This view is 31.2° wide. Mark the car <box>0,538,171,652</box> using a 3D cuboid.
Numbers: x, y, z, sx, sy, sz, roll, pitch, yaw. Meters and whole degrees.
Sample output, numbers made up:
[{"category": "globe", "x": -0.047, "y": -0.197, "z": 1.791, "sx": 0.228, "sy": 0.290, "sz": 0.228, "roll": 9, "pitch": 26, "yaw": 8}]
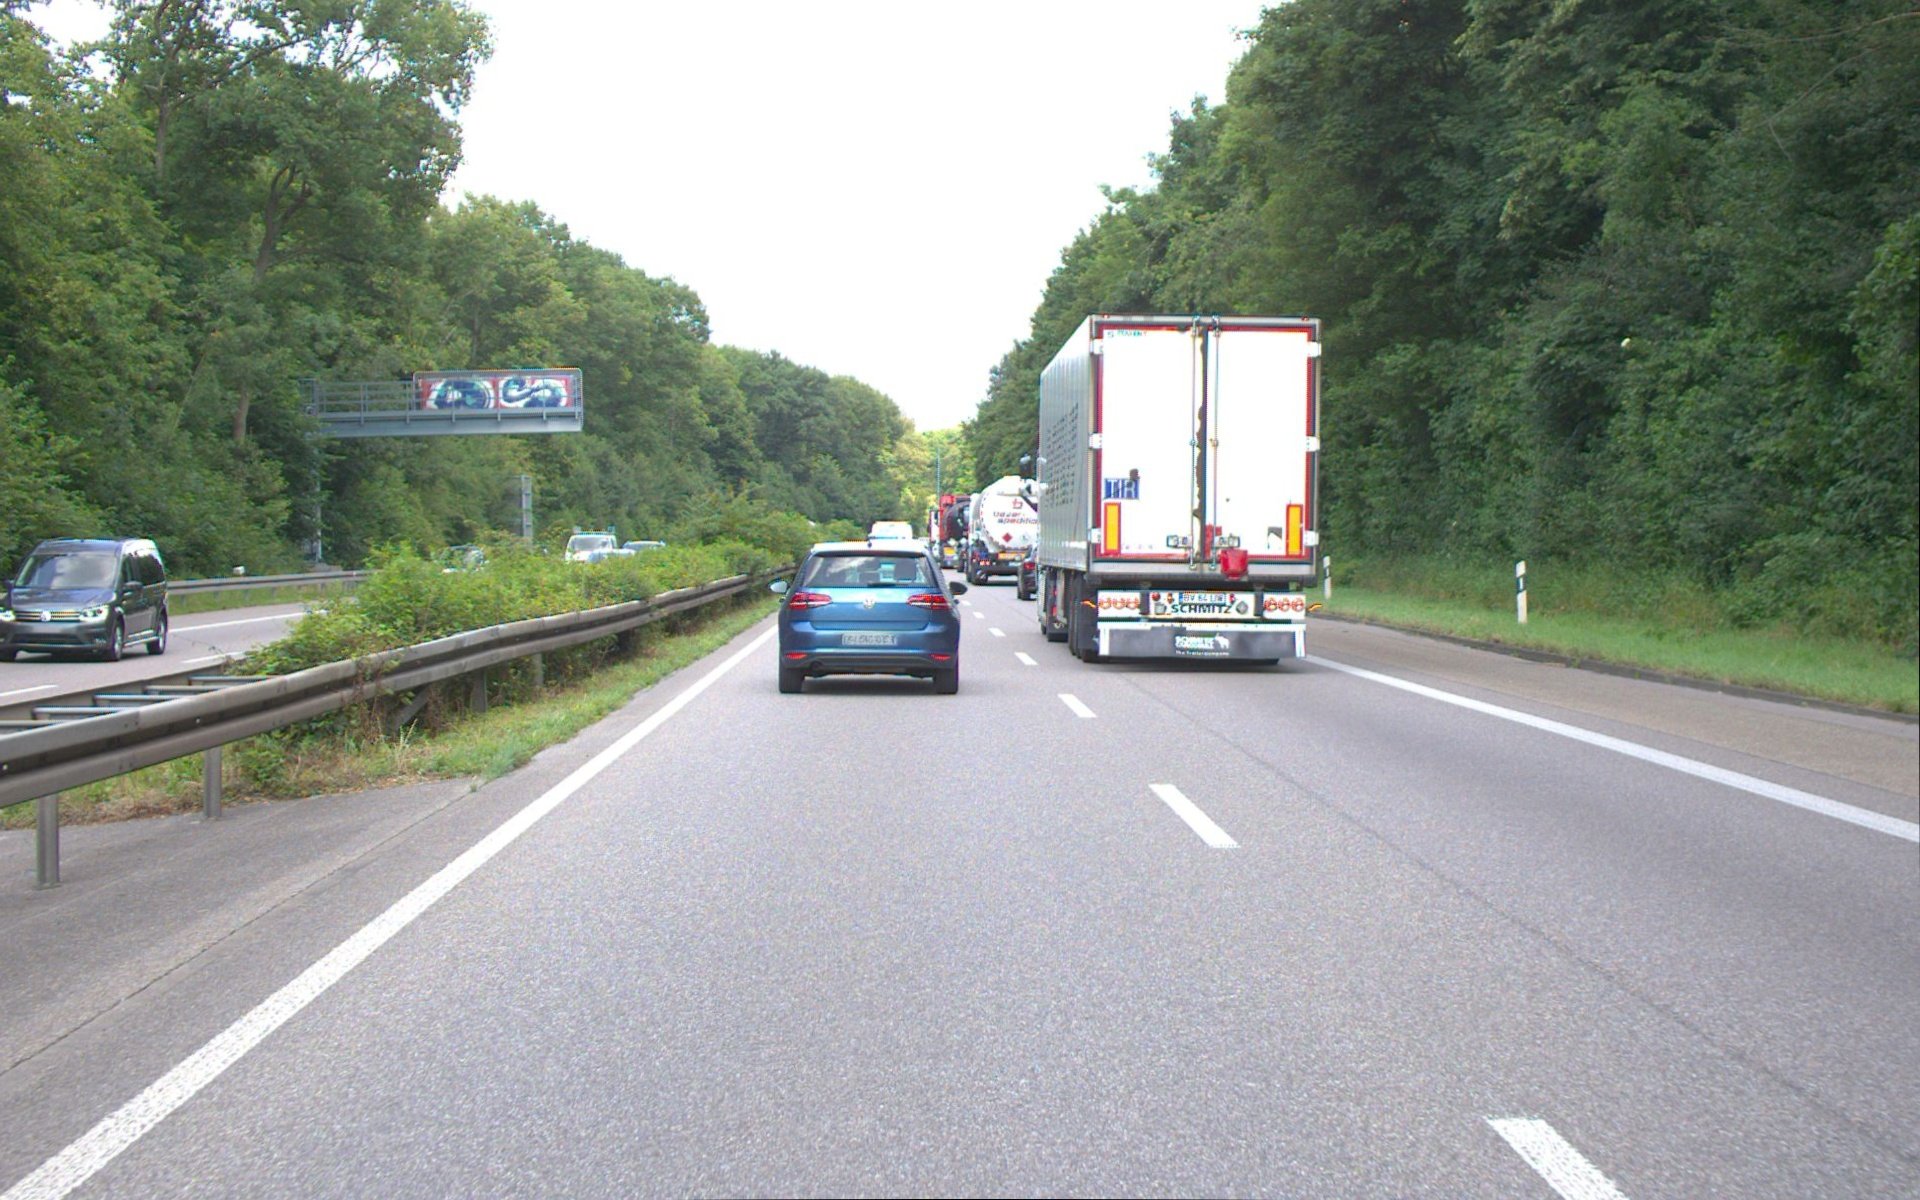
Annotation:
[{"category": "car", "x": -13.131, "y": -0.108, "z": 51.214, "sx": 1.760, "sy": 1.587, "sz": 4.634, "roll": -1, "pitch": 1, "yaw": -1}]

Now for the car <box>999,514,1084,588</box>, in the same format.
[{"category": "car", "x": 1.944, "y": -1.198, "z": 83.233, "sx": 1.888, "sy": 1.723, "sz": 4.000, "roll": -1, "pitch": 1, "yaw": -1}]

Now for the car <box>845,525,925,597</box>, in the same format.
[{"category": "car", "x": -1.599, "y": -0.857, "z": 74.007, "sx": 1.665, "sy": 1.495, "sz": 4.152, "roll": 0, "pitch": 1, "yaw": -1}]

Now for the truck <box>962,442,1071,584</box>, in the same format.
[{"category": "truck", "x": 1.739, "y": -2.772, "z": 112.610, "sx": 3.232, "sy": 4.371, "sz": 12.971, "roll": 0, "pitch": 1, "yaw": 0}]

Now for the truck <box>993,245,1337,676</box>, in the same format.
[{"category": "truck", "x": 2.317, "y": -1.676, "z": 43.389, "sx": 3.242, "sy": 4.699, "sz": 11.008, "roll": -1, "pitch": 1, "yaw": -2}]

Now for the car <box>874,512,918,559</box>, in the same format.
[{"category": "car", "x": -3.180, "y": -3.177, "z": 169.807, "sx": 1.993, "sy": 2.247, "sz": 4.443, "roll": -1, "pitch": 1, "yaw": -3}]

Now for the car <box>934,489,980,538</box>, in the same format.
[{"category": "car", "x": -0.163, "y": -4.257, "z": 168.750, "sx": 1.993, "sy": 2.319, "sz": 4.443, "roll": -1, "pitch": 1, "yaw": -3}]

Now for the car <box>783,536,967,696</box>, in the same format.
[{"category": "car", "x": -0.845, "y": 0.116, "z": 34.048, "sx": 1.705, "sy": 1.465, "sz": 4.000, "roll": 1, "pitch": 1, "yaw": -1}]

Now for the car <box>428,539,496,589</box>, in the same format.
[{"category": "car", "x": -14.520, "y": -1.078, "z": 100.361, "sx": 1.537, "sy": 1.391, "sz": 3.511, "roll": -1, "pitch": 1, "yaw": -1}]
